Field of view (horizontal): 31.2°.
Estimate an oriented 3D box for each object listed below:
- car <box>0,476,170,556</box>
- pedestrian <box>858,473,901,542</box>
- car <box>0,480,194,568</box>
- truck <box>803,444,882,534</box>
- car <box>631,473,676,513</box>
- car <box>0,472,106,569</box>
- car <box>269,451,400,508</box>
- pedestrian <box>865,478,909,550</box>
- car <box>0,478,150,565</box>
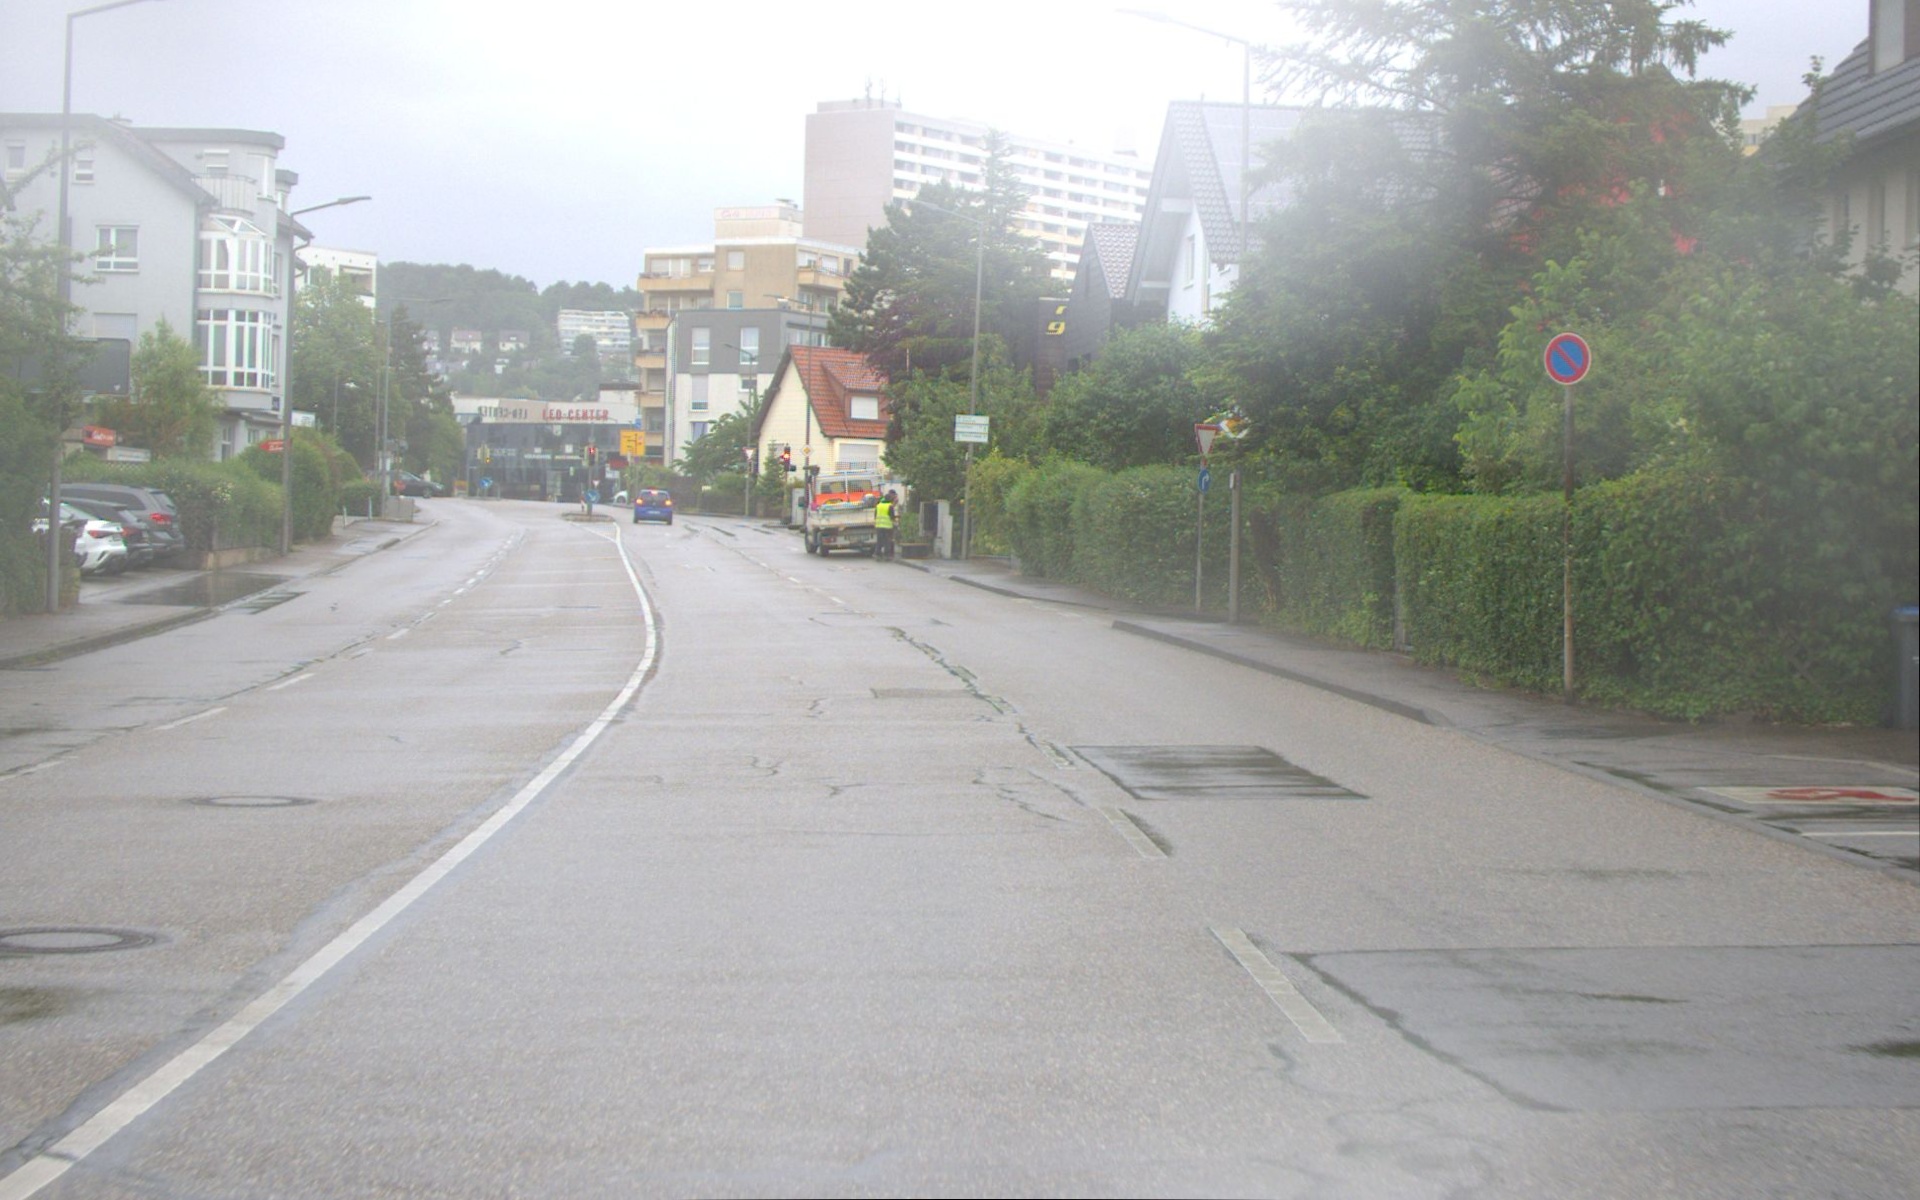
[{"bbox_3d":[-17.026,-1.583,64.453,3.987,1.441,1.706,1,1,2],"label":"car"},{"bbox_3d":[-2.045,-2.354,87.146,0.823,1.720,0.841,0,2,-23],"label":"pedestrian"},{"bbox_3d":[-17.394,-1.510,67.946,3.989,1.680,1.808,1,1,13],"label":"car"},{"bbox_3d":[-3.104,-2.938,90.899,1.993,2.295,4.001,1,2,-2],"label":"truck"},{"bbox_3d":[-12.998,-4.525,145.809,1.794,1.664,4.001,0,1,-4],"label":"car"},{"bbox_3d":[-17.022,-1.438,59.194,4.098,1.579,1.957,3,1,0],"label":"car"},{"bbox_3d":[-24.204,-4.669,133.157,4.524,2.006,1.999,3,2,9],"label":"car"},{"bbox_3d":[-1.833,-2.168,86.303,0.823,1.791,0.800,0,2,-23],"label":"pedestrian"},{"bbox_3d":[-16.845,-1.452,61.928,3.987,1.429,1.971,3,2,1],"label":"car"}]
